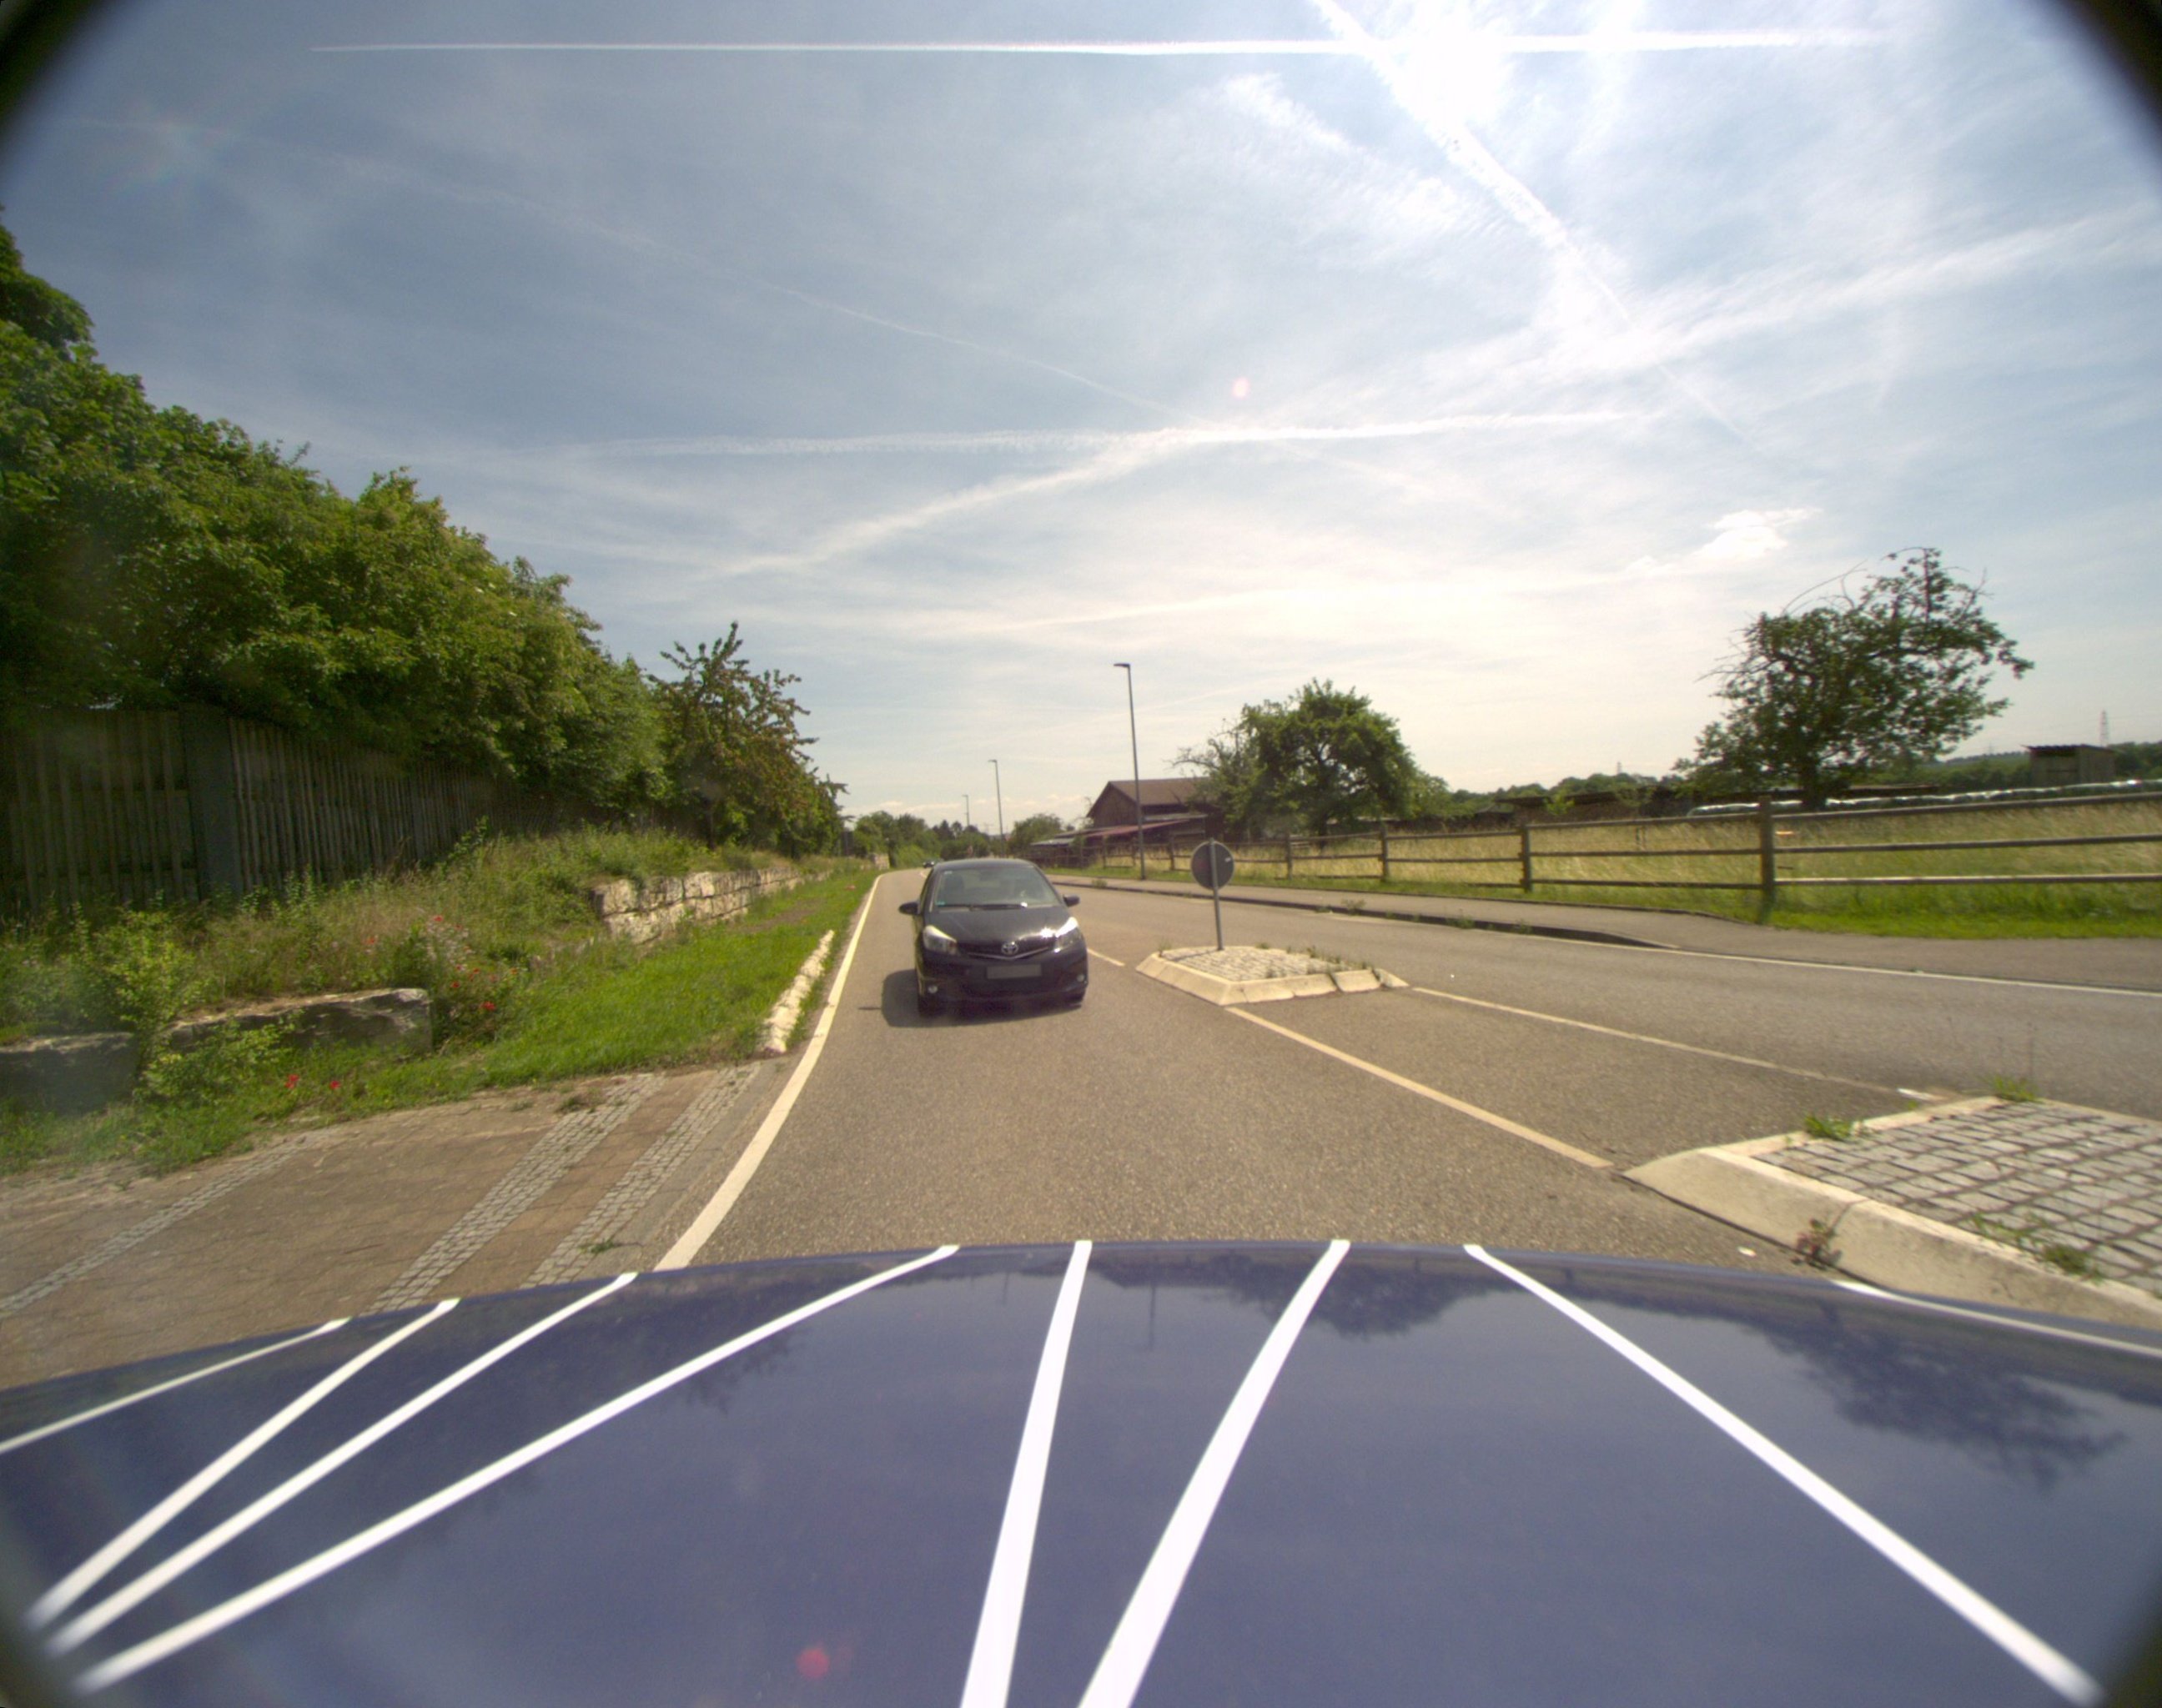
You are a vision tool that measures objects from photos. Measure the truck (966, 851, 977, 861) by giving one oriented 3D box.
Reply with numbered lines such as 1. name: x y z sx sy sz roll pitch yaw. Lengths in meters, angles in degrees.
1. truck: -24.927 0.418 172.645 2.229 2.280 6.486 -3 1 -8

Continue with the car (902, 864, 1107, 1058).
1. car: -1.123 0.910 8.580 1.679 1.456 4.427 -3 1 -13

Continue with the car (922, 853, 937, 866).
1. car: -25.965 0.950 129.857 2.194 2.002 4.775 -5 1 -14

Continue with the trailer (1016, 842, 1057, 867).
1. trailer: -3.456 0.046 58.220 2.162 1.693 5.023 -3 1 -14
